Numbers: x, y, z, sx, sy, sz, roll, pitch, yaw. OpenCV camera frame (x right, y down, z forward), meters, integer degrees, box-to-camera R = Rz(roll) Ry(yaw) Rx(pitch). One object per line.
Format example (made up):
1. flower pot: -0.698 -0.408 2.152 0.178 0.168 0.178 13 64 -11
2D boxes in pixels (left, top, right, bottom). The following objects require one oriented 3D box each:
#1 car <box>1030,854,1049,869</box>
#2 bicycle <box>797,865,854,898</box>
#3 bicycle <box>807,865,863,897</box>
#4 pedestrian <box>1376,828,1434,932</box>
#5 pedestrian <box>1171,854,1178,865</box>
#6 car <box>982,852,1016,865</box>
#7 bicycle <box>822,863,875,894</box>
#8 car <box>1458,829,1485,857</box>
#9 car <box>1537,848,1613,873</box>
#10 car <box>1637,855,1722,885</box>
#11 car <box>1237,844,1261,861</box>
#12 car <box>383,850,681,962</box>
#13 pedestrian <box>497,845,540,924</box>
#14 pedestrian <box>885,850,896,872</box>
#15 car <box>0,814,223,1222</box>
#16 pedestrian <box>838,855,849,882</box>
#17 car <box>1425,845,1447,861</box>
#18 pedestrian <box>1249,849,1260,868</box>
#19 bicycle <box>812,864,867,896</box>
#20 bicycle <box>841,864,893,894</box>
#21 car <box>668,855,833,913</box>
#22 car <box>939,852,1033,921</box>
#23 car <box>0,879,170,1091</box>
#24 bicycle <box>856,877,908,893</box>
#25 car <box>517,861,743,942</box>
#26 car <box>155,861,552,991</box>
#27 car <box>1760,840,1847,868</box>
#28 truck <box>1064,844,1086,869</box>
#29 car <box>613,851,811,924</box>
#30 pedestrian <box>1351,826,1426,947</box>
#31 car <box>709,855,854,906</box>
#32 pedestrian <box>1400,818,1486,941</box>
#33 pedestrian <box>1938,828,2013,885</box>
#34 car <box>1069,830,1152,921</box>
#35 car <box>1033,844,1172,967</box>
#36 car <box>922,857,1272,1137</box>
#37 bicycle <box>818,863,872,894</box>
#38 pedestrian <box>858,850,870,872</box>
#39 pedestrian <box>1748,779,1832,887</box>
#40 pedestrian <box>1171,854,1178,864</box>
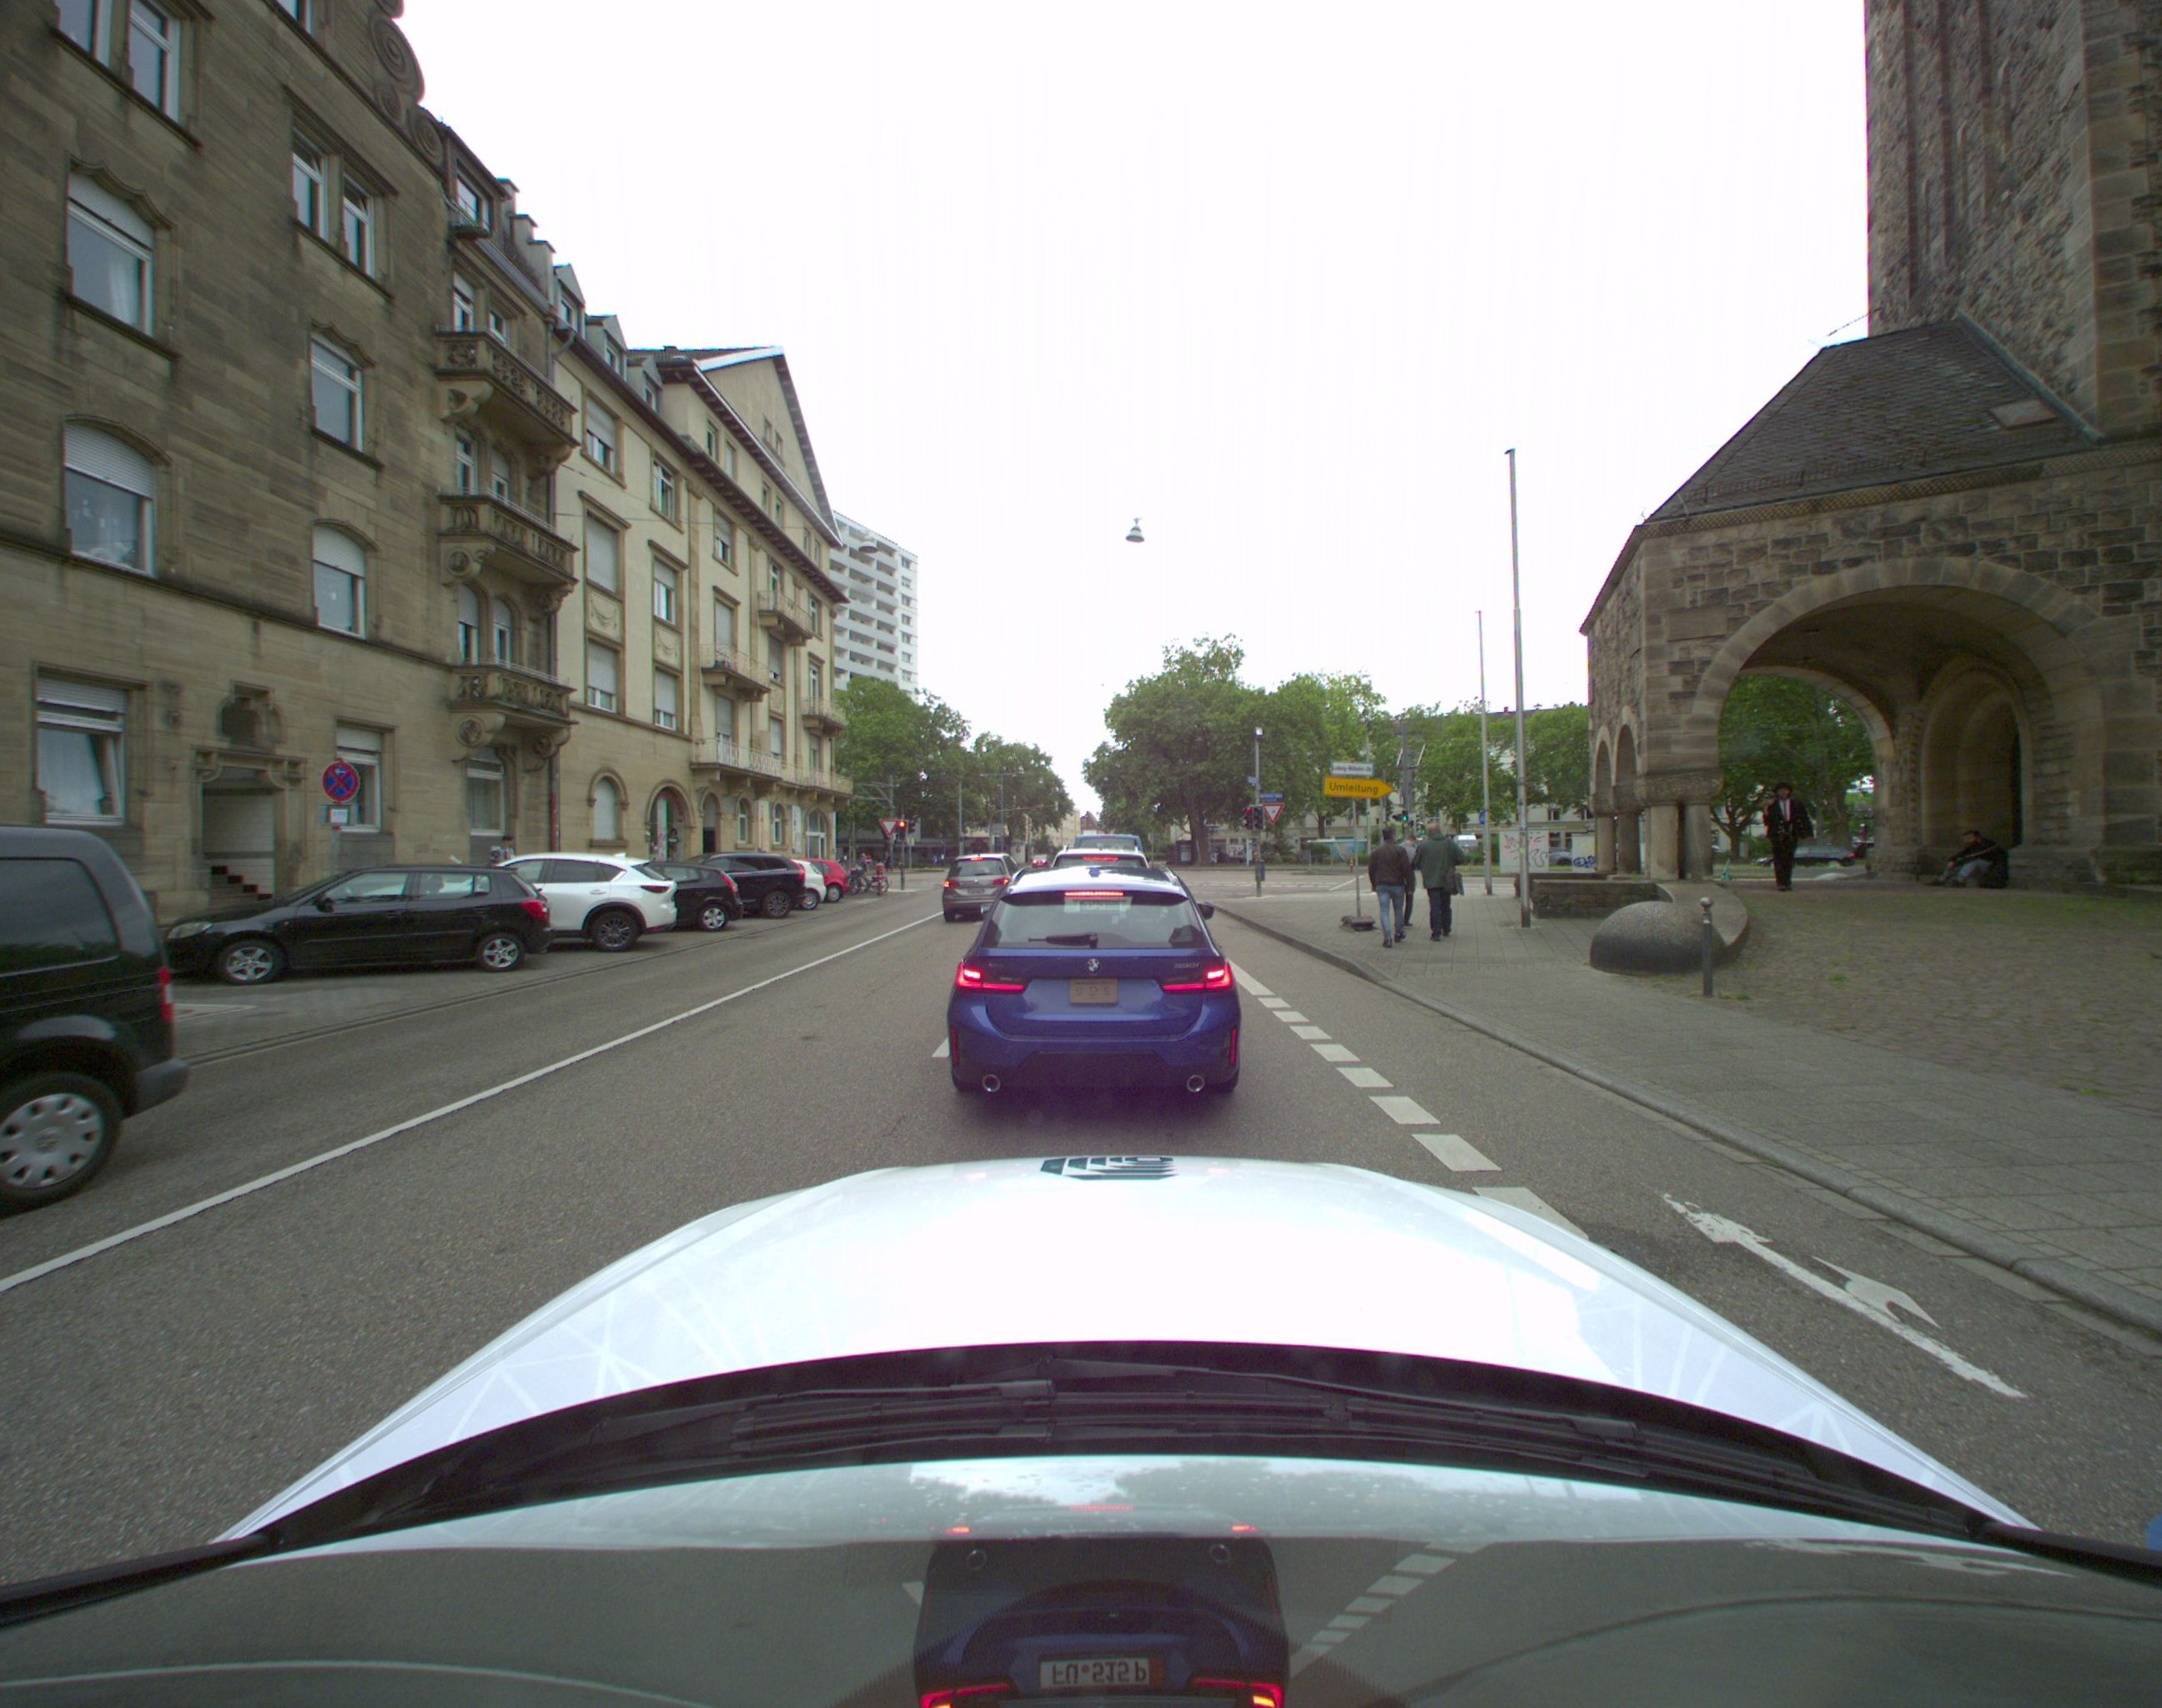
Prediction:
1. car: -4.211 0.780 83.434 1.643 1.447 3.512 -1 0 2
2. bicycle: -9.267 0.990 29.521 1.877 1.035 0.443 4 0 4
3. bicycle: -9.151 0.989 30.335 1.880 1.035 0.442 5 0 -1
4. pedestrian: 5.484 0.429 13.835 0.629 1.673 0.971 -3 0 8
5. pedestrian: 11.853 0.667 102.950 0.850 1.314 0.763 -1 0 1
6. car: -10.787 0.615 107.129 4.014 1.706 1.980 0 -1 -32
7. bicycle: -9.163 0.968 32.170 1.880 1.035 0.442 5 0 -1
8. car: 39.114 -1.075 81.562 2.214 2.639 5.480 -1 0 28
9. car: 31.437 0.420 51.909 3.940 1.561 1.697 -1 0 24
10. car: 36.462 0.975 49.719 3.901 1.711 1.697 -1 -1 24
11. car: 22.122 -0.191 107.081 2.154 2.200 4.024 -1 0 26
12. car: -9.277 0.797 14.207 4.004 1.723 1.827 0 0 -23
13. pedestrian: -12.925 0.685 18.724 0.564 1.785 0.551 -1 0 3
14. pedestrian: -15.595 0.541 66.556 0.672 1.771 0.726 -1 0 1
15. car: -5.633 0.748 2.444 1.688 1.803 4.129 -2 0 0
16. pedestrian: -17.827 1.097 61.069 0.622 2.014 0.618 0 -1 6
17. car: 35.030 -0.072 80.355 1.649 1.515 3.962 -1 0 28
18. pedestrian: 16.425 0.396 77.214 0.781 1.743 0.925 -1 0 0
19. bicycle: -9.149 0.972 30.871 1.880 1.035 0.442 5 0 -1
20. bicycle: -8.583 0.996 32.704 1.880 1.035 0.442 5 0 -1
21. car: -9.325 0.825 23.174 4.021 1.472 1.546 2 0 -41
22. car: -2.266 0.735 20.375 1.726 1.525 4.002 -1 0 2
23. car: -9.250 0.906 5.362 4.016 1.417 1.644 1 -1 -34
24. bicycle: -8.219 1.286 33.735 1.880 0.445 1.029 5 2 -1
25. car: -9.459 0.912 17.191 4.017 1.494 1.713 0 0 -36
26. car: -9.627 0.868 11.207 3.830 1.497 1.552 1 -1 -37
27. car: 41.709 0.010 47.103 3.425 1.561 1.697 -1 0 24
28. truck: -0.611 0.222 81.030 2.068 2.408 5.461 -2 0 0
29. car: -9.214 0.770 20.540 4.248 1.651 1.711 0 0 -41
30. pedestrian: 4.533 0.454 12.061 0.672 1.686 0.969 -3 0 2
31. car: -9.495 0.809 26.048 1.663 1.472 4.024 1 0 43
32. pedestrian: 5.504 0.372 12.438 0.801 1.758 0.969 -3 0 1
33. pedestrian: 15.503 0.044 14.134 0.665 0.951 0.618 -1 0 24
34. car: 0.724 0.472 20.219 1.808 2.005 4.002 -1 0 2
35. car: 0.347 0.676 12.750 1.808 1.592 4.002 -1 0 2
36. car: 0.151 0.760 6.423 1.808 1.405 4.322 -1 0 2
37. bicycle: -9.146 0.950 31.533 1.880 1.035 0.442 5 0 -1
38. pedestrian: -17.610 0.560 66.095 0.672 1.771 0.726 -1 0 1
39. pedestrian: 12.376 -0.351 14.250 0.806 1.808 1.025 -1 0 22
40. pedestrian: 11.891 0.640 103.810 0.814 1.372 0.763 -1 0 1
